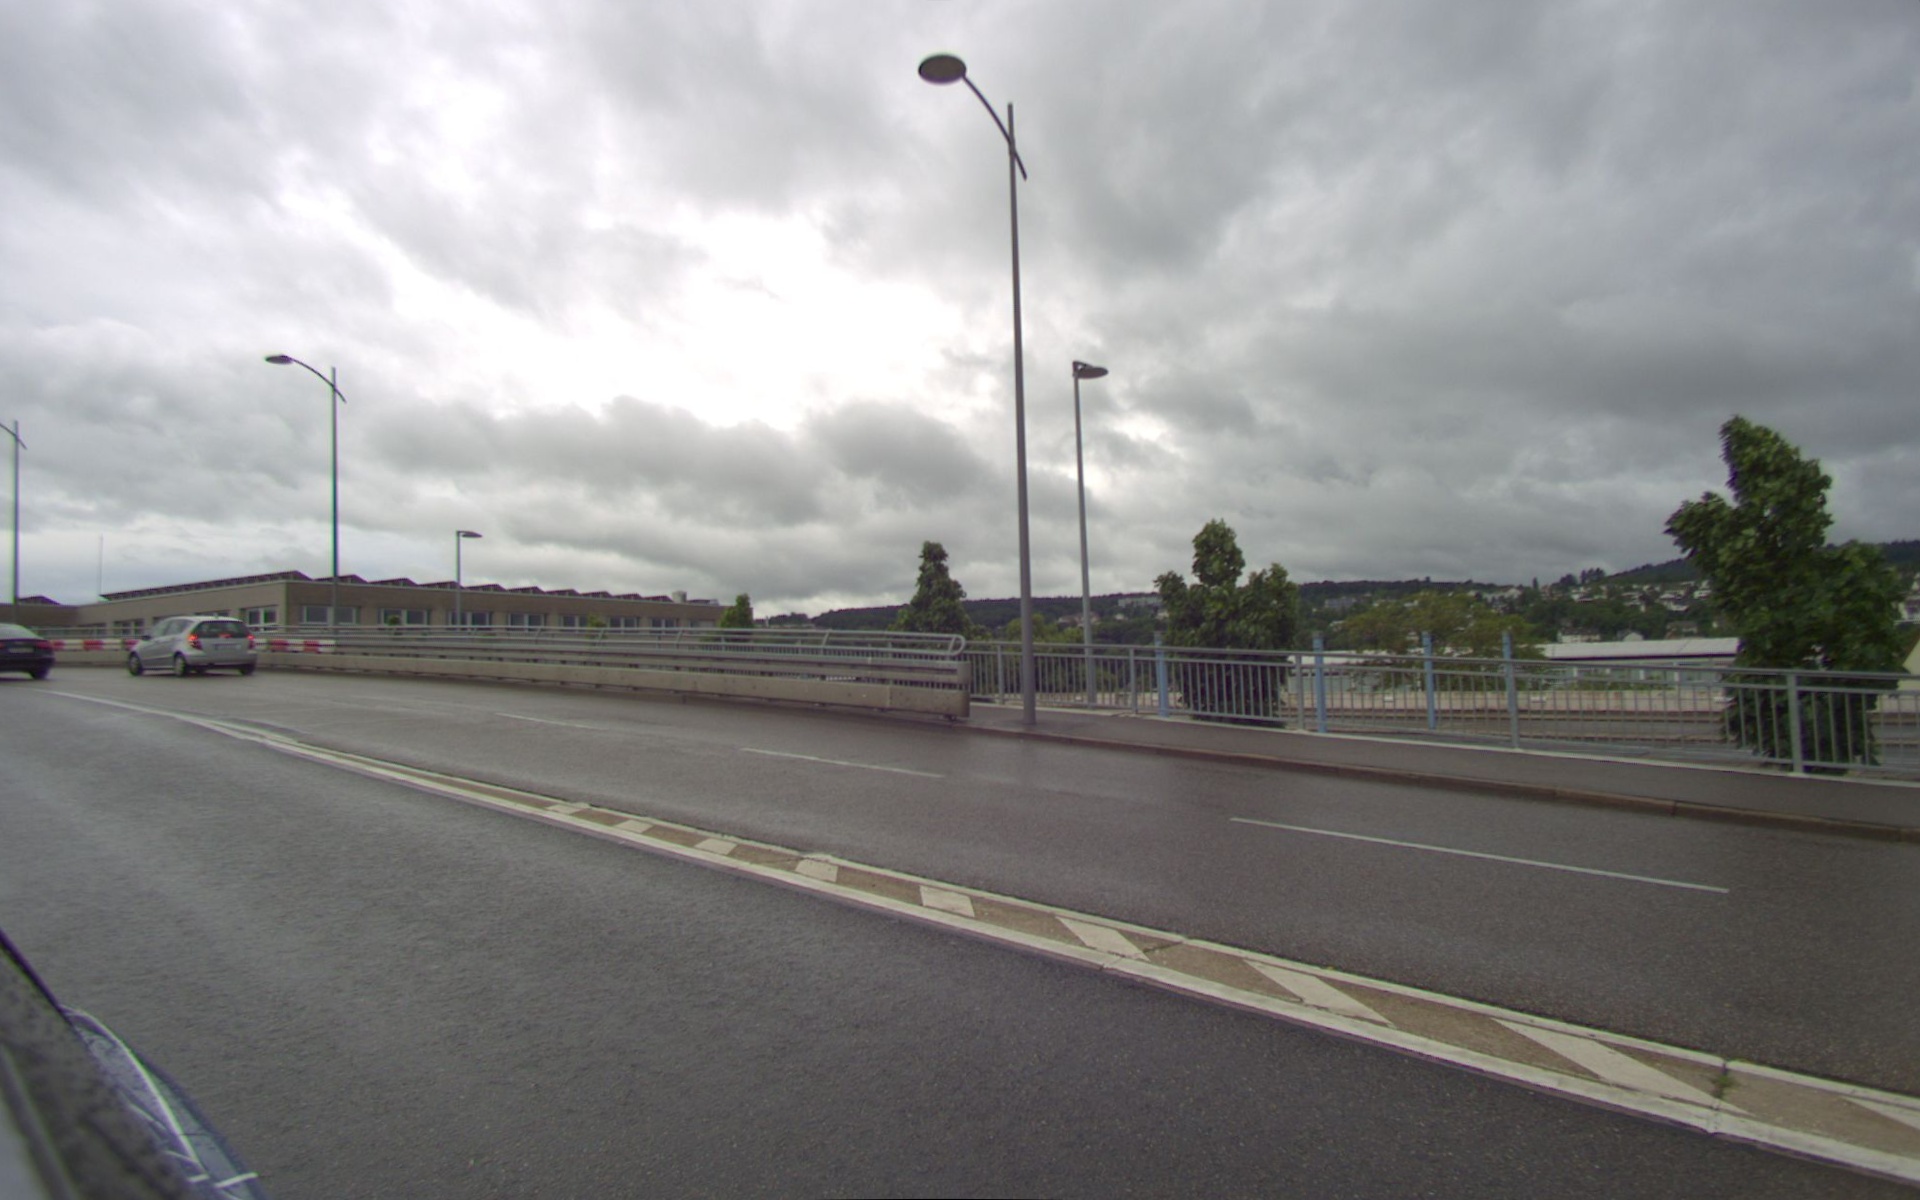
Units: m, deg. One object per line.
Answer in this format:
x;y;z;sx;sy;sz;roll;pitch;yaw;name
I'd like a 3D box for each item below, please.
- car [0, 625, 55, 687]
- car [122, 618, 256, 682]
-25.396;1.390;25.879;4.430;1.502;1.660;0;-2;24;car
-21.107;1.319;27.678;3.696;1.621;1.633;0;-2;31;car
